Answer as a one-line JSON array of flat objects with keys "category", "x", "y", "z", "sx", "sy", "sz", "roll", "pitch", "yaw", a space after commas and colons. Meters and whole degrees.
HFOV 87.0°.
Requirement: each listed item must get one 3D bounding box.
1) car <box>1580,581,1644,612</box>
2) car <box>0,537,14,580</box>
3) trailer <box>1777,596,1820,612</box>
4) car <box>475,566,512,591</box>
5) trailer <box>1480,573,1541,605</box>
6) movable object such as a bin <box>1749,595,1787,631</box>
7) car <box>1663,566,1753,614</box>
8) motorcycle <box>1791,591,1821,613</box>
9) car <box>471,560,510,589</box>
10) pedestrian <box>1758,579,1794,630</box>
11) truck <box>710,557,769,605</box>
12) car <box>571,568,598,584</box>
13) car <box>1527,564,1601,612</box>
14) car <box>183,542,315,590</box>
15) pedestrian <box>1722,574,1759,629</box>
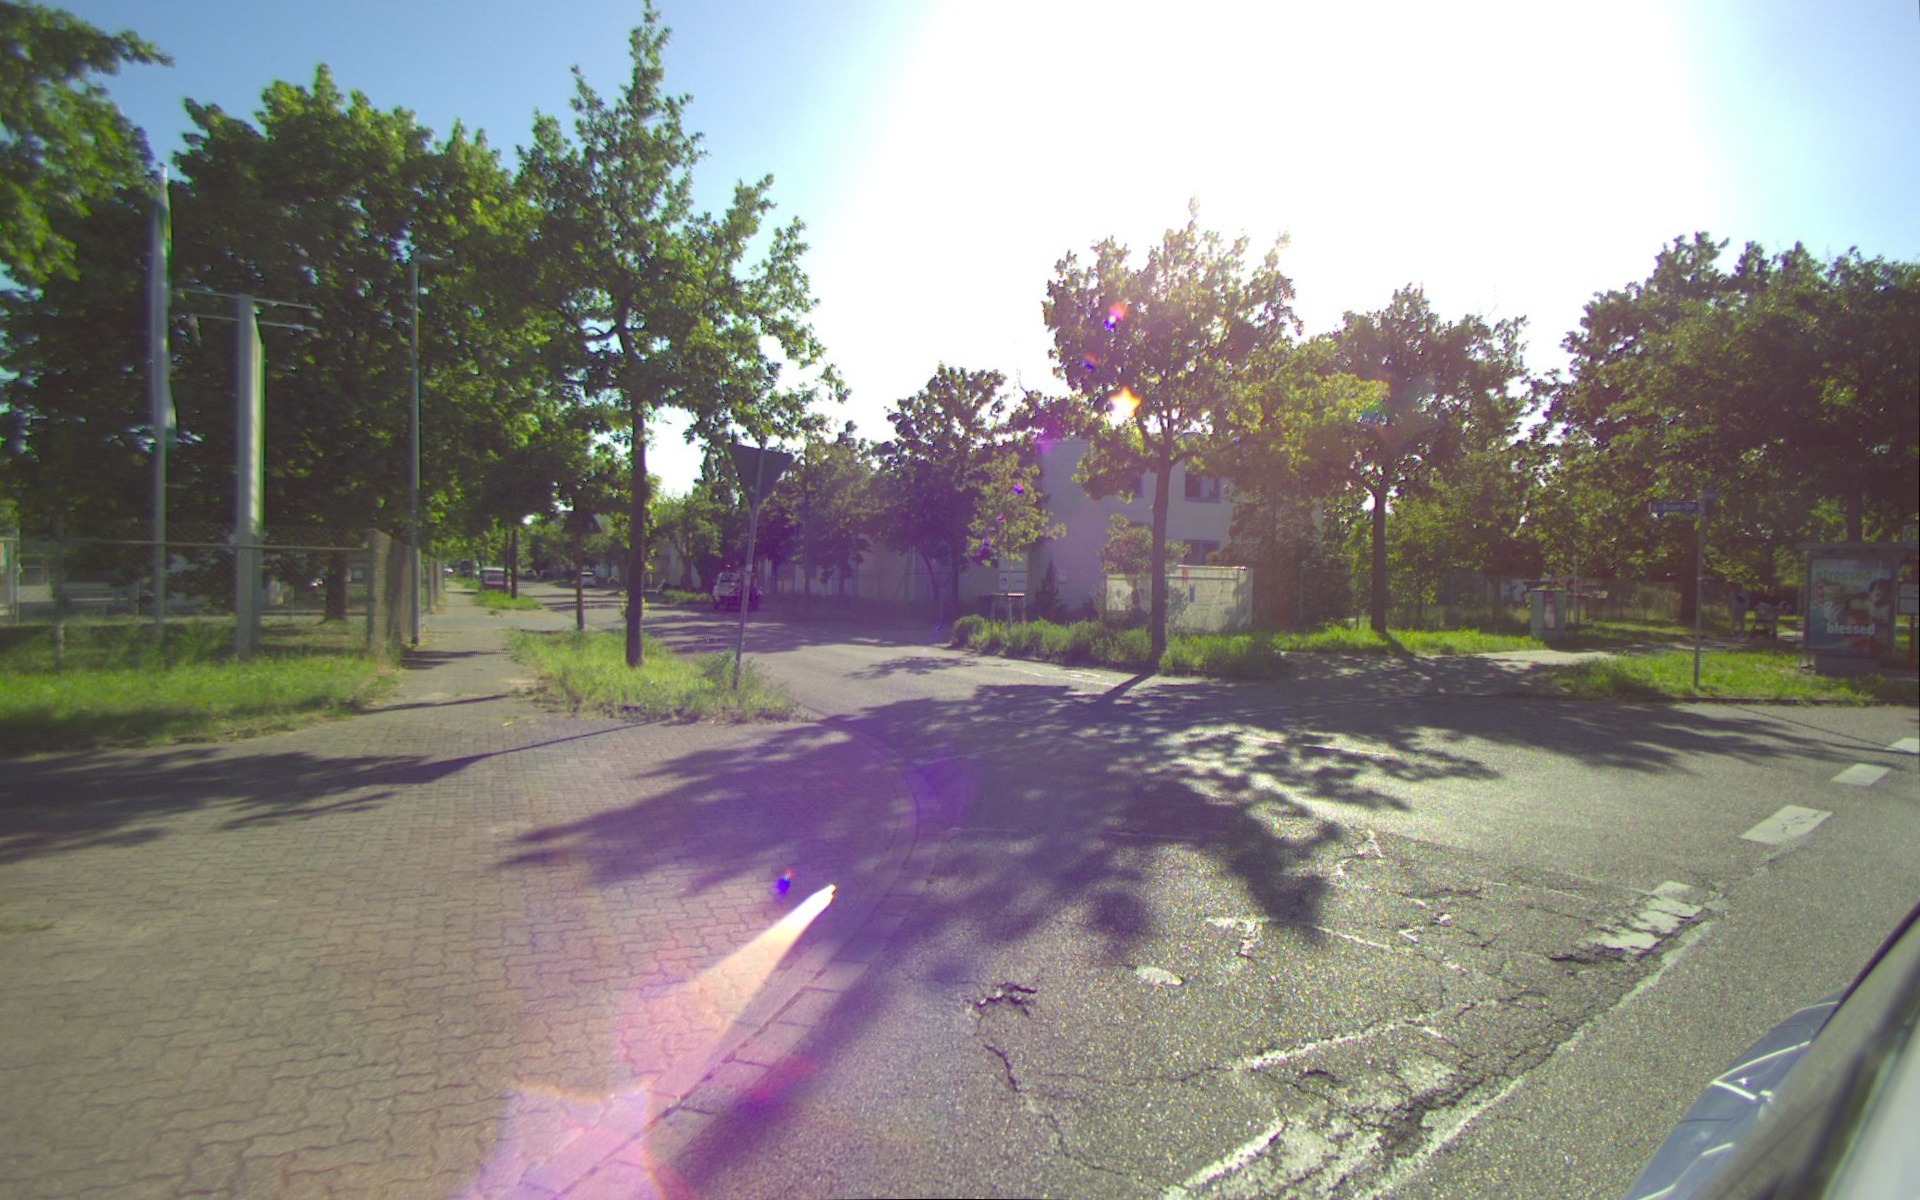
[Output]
[{"category": "car", "x": 37.213, "y": -0.229, "z": 57.735, "sx": 3.531, "sy": 1.685, "sz": 2.011, "roll": 0, "pitch": 2, "yaw": -39}, {"category": "car", "x": -62.771, "y": -2.645, "z": 63.364, "sx": 4.749, "sy": 2.732, "sz": 2.172, "roll": 1, "pitch": 1, "yaw": -12}, {"category": "trailer", "x": 57.357, "y": 0.269, "z": 69.263, "sx": 2.013, "sy": 0.878, "sz": 1.587, "roll": -4, "pitch": 4, "yaw": -26}, {"category": "car", "x": -29.541, "y": -1.372, "z": 64.017, "sx": 1.901, "sy": 1.497, "sz": 4.523, "roll": 0, "pitch": 1, "yaw": -27}, {"category": "trailer", "x": 40.624, "y": -0.814, "z": 74.663, "sx": 3.711, "sy": 2.336, "sz": 2.200, "roll": 0, "pitch": 2, "yaw": -26}, {"category": "movable object such as a bin", "x": 25.940, "y": 0.411, "z": 32.487, "sx": 0.852, "sy": 1.094, "sz": 0.728, "roll": 0, "pitch": 3, "yaw": -39}, {"category": "car", "x": 46.818, "y": -0.593, "z": 63.290, "sx": 5.848, "sy": 2.599, "sz": 2.094, "roll": 3, "pitch": -2, "yaw": -27}, {"category": "motorcycle", "x": 56.361, "y": 0.109, "z": 67.422, "sx": 2.358, "sy": 1.246, "sz": 0.666, "roll": -4, "pitch": 3, "yaw": -27}, {"category": "car", "x": -32.086, "y": -1.757, "z": 69.146, "sx": 1.960, "sy": 1.860, "sz": 5.465, "roll": 0, "pitch": 2, "yaw": -30}, {"category": "pedestrian", "x": 26.621, "y": 0.148, "z": 33.013, "sx": 0.852, "sy": 1.623, "sz": 0.727, "roll": 0, "pitch": 1, "yaw": -39}, {"category": "truck", "x": -10.726, "y": -0.955, "z": 48.936, "sx": 1.958, "sy": 2.138, "sz": 5.166, "roll": -2, "pitch": 2, "yaw": -22}, {"category": "car", "x": -36.497, "y": -2.350, "z": 98.366, "sx": 1.901, "sy": 1.497, "sz": 4.523, "roll": 0, "pitch": 1, "yaw": -27}, {"category": "car", "x": 35.811, "y": -0.722, "z": 59.994, "sx": 4.763, "sy": 2.676, "sz": 2.166, "roll": 0, "pitch": 2, "yaw": -39}, {"category": "car", "x": -32.061, "y": -1.524, "z": 45.838, "sx": 4.638, "sy": 2.011, "sz": 2.003, "roll": 0, "pitch": 1, "yaw": -27}, {"category": "pedestrian", "x": 25.596, "y": 0.035, "z": 33.190, "sx": 0.852, "sy": 1.777, "sz": 0.727, "roll": 0, "pitch": 1, "yaw": -39}]
